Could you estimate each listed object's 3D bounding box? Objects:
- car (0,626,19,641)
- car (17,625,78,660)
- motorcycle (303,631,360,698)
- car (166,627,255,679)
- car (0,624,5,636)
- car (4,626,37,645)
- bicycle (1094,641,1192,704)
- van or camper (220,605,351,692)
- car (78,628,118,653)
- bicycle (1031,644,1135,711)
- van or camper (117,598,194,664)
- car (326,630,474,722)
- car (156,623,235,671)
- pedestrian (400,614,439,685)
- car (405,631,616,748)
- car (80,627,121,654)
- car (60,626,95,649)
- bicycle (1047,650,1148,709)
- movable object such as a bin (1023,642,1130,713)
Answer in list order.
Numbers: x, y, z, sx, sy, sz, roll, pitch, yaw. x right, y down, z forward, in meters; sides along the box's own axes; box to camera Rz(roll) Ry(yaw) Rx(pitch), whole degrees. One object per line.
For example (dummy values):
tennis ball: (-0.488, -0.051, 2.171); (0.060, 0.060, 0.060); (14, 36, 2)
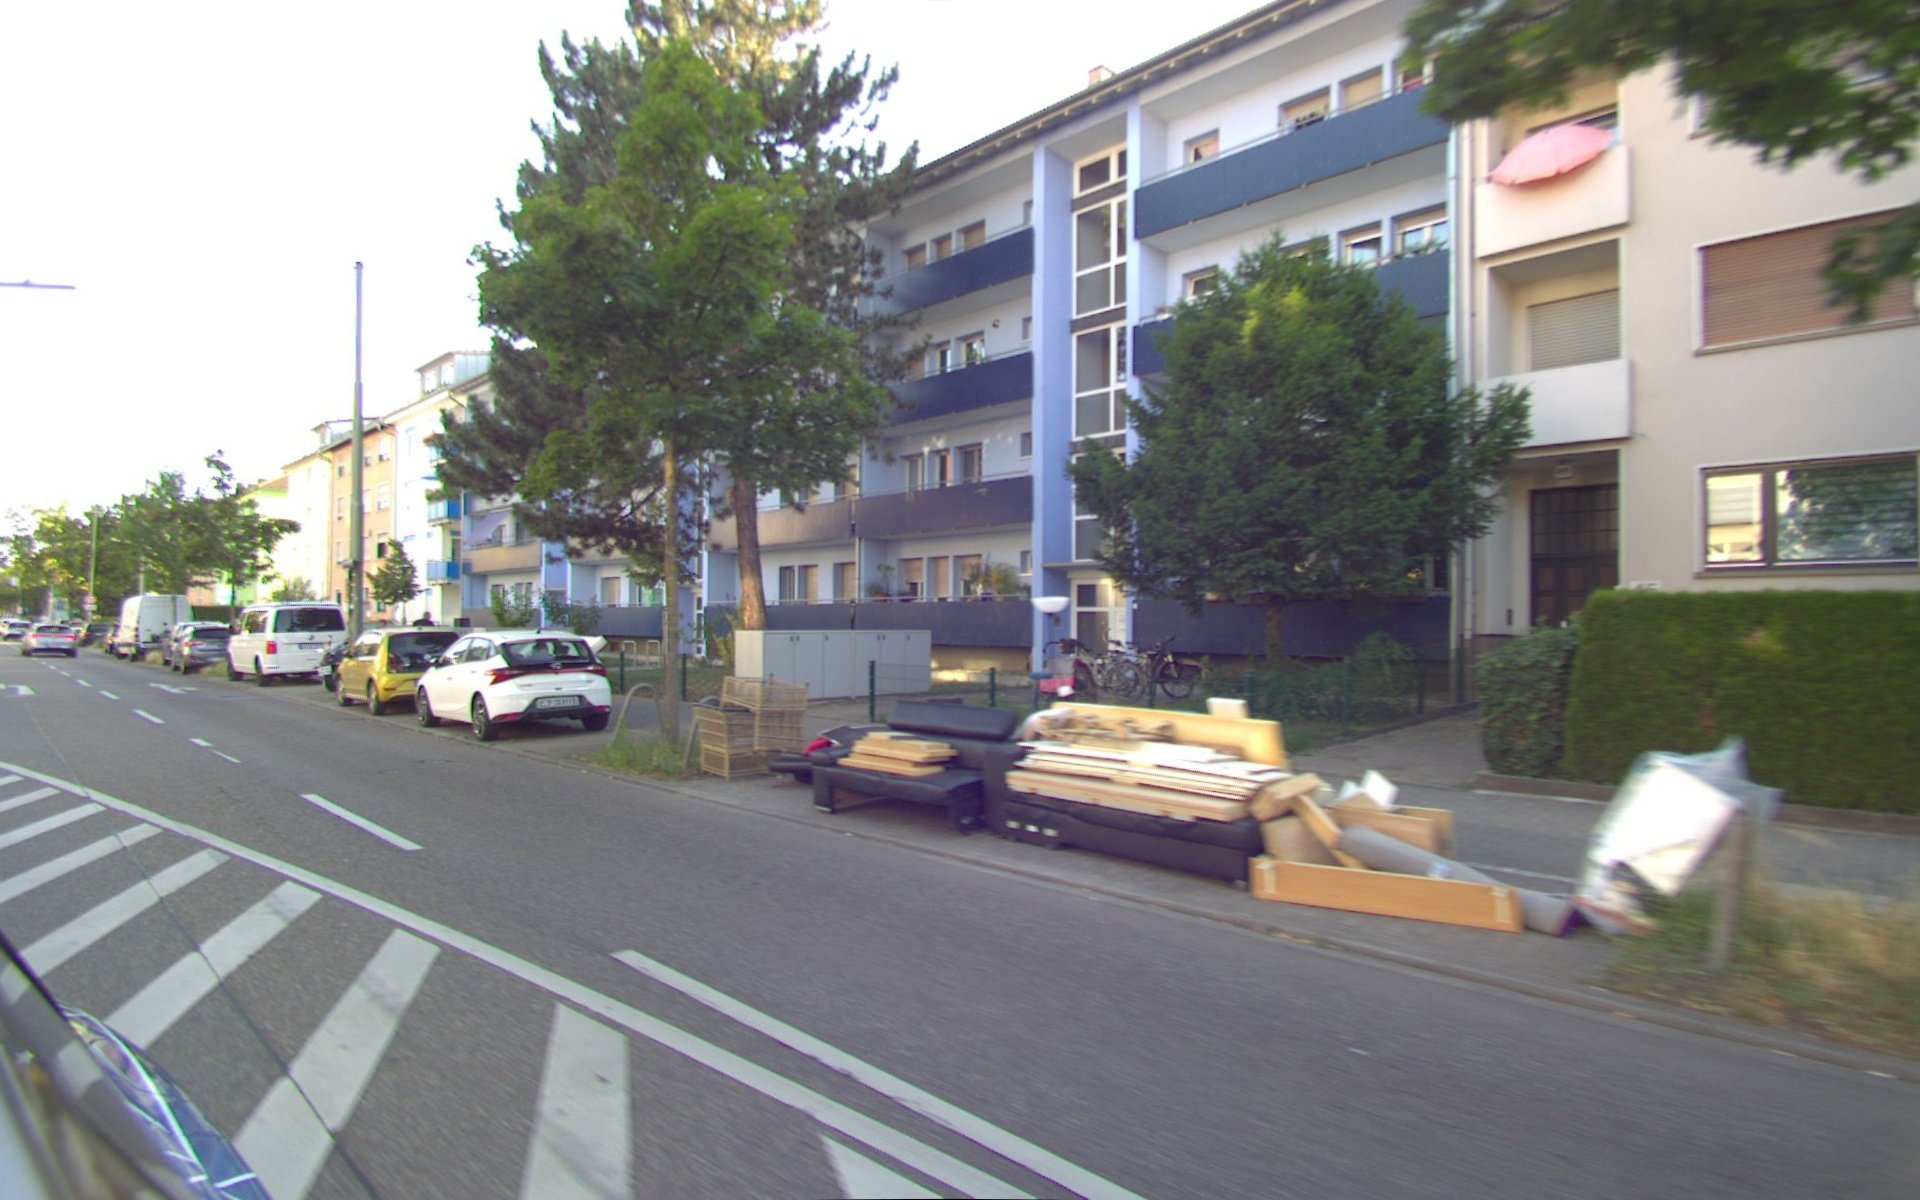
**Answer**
car: (-92.588, 3.223, 98.118); (1.783, 1.409, 3.959); (1, -2, -45)
car: (-40.103, 1.855, 44.441); (3.958, 1.493, 1.702); (-1, -3, 44)
motorcycle: (-13.953, 1.400, 22.514); (0.780, 1.412, 2.024); (1, -2, -24)
car: (-23.695, 1.626, 31.935); (1.783, 1.509, 3.960); (1, -2, -43)
car: (-114.648, 3.581, 120.095); (1.783, 1.409, 3.959); (2, -2, -45)
car: (-71.451, 2.707, 76.962); (1.783, 1.409, 3.960); (1, -2, -43)
bicycle: (3.355, 1.311, 18.689); (1.746, 1.084, 0.582); (-1, -2, 42)
van or camper: (-17.365, 1.183, 25.959); (4.866, 2.029, 1.784); (-1, -2, 44)
car: (-51.662, 2.390, 60.660); (1.737, 1.459, 3.791); (2, -2, -40)
bicycle: (2.151, 1.341, 17.770); (1.740, 1.104, 0.528); (-1, -2, 27)
van or camper: (-33.388, 1.260, 41.932); (1.891, 2.562, 5.337); (2, -2, -45)
car: (-10.300, 1.306, 18.501); (1.555, 1.480, 3.493); (0, -1, -43)
car: (-27.066, 1.603, 35.795); (1.783, 1.603, 3.960); (1, -2, -43)
pedestrian: (-13.755, 1.250, 25.759); (0.647, 1.750, 0.688); (-2, -2, 45)
car: (-6.722, 1.208, 14.930); (1.660, 1.454, 3.884); (0, -1, -43)
car: (-49.003, 2.288, 57.723); (1.737, 1.459, 3.596); (2, -2, -40)
car: (-64.183, 2.707, 73.591); (1.783, 1.609, 3.960); (1, -2, -43)
bicycle: (2.468, 1.418, 18.265); (1.740, 0.996, 0.499); (-1, -2, 27)
movable object such as a bin: (1.880, 1.218, 16.270); (1.061, 1.057, 1.445); (-2, -2, 45)
